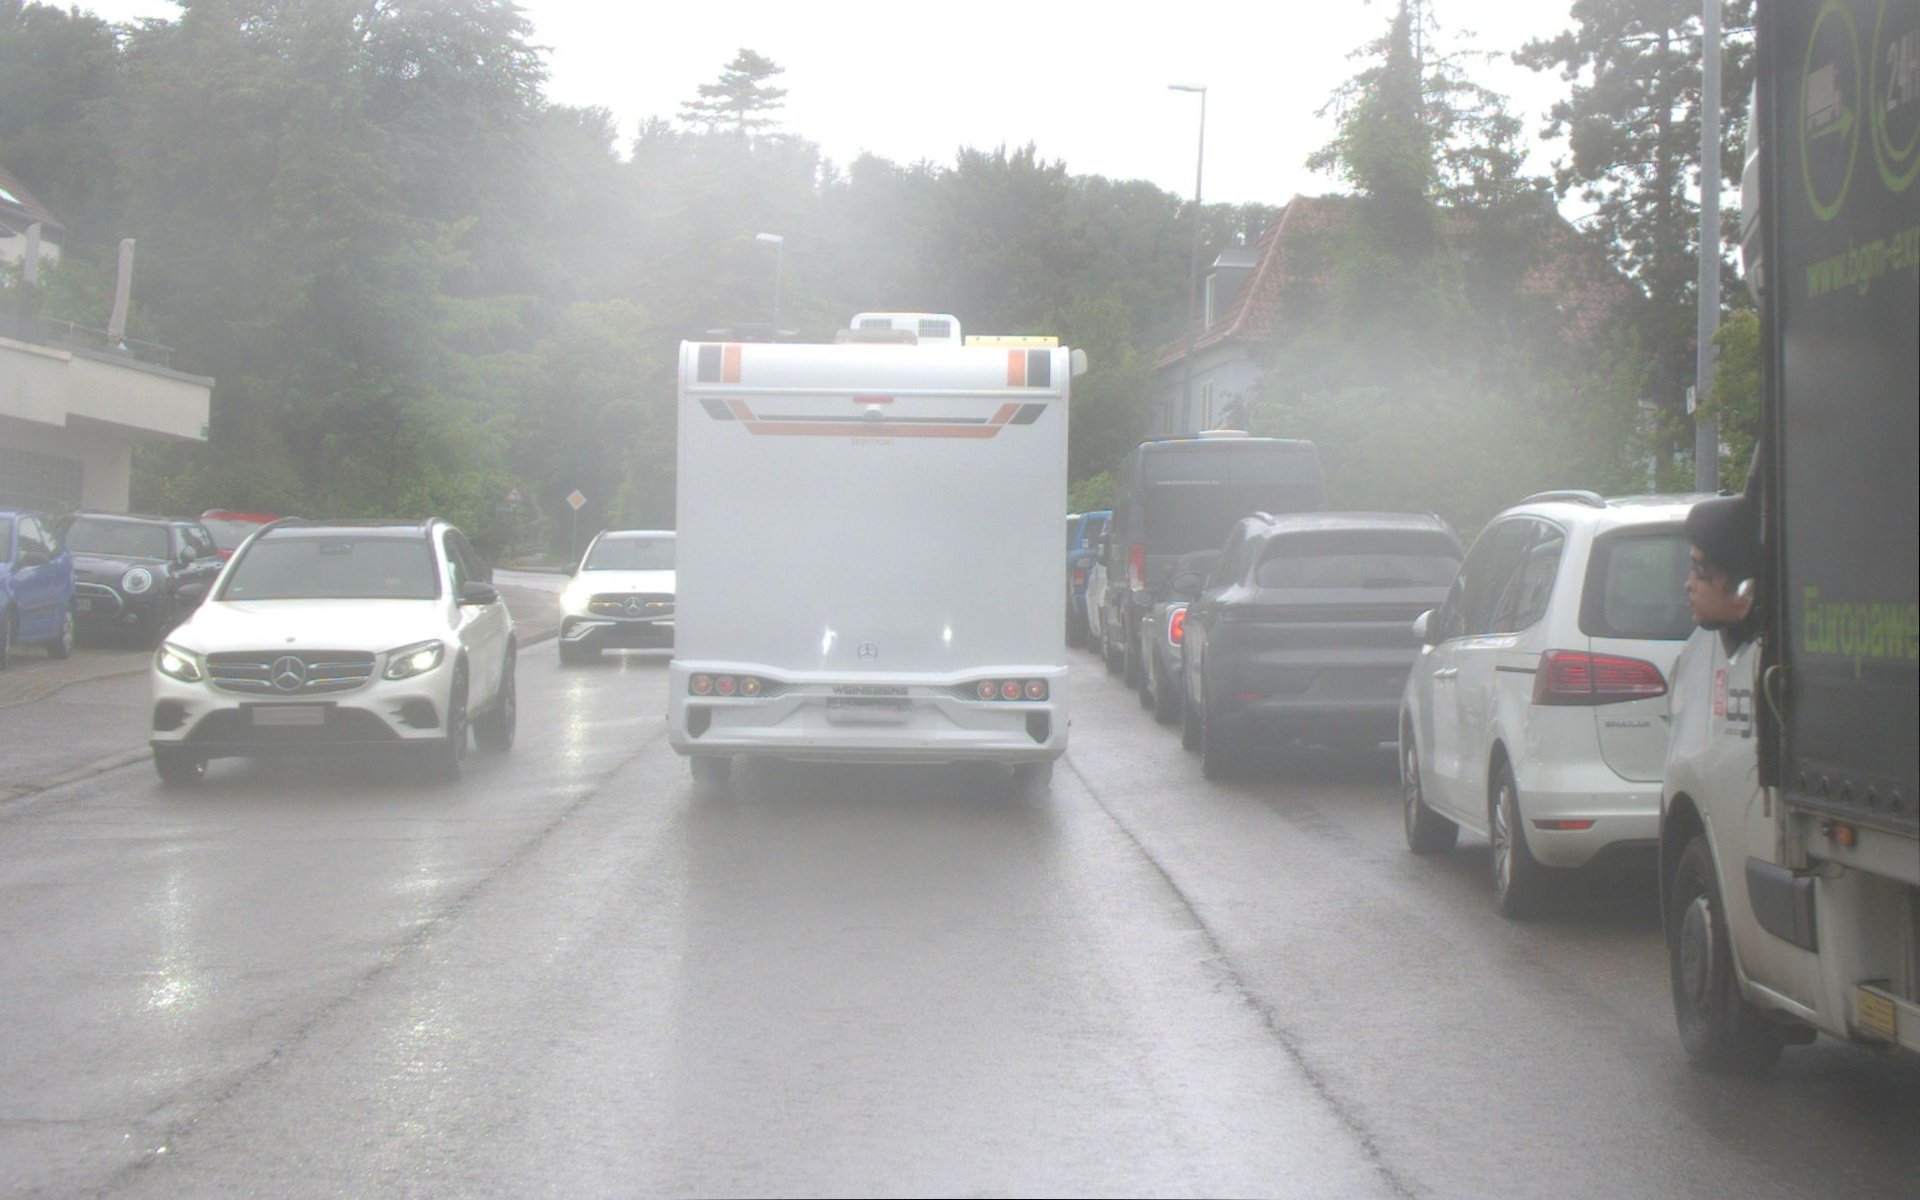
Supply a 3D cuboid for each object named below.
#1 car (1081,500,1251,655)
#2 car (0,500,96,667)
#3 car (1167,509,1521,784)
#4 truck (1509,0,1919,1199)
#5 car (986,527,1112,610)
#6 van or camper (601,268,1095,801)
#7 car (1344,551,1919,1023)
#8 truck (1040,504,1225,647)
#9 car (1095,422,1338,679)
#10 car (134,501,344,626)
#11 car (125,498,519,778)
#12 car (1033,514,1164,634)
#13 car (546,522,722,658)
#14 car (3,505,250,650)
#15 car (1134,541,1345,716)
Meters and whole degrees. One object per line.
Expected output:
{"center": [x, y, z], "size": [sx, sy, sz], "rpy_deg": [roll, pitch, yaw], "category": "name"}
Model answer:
{"center": [2.547, -0.316, 43.647], "size": [1.827, 1.836, 5.270], "rpy_deg": [0, 1, 0], "category": "car"}
{"center": [-9.434, -0.215, 32.352], "size": [1.607, 1.429, 3.959], "rpy_deg": [4, 1, -2], "category": "car"}
{"center": [2.465, 0.240, 23.174], "size": [1.936, 1.666, 4.694], "rpy_deg": [0, 1, 1], "category": "car"}
{"center": [3.050, -0.264, 7.127], "size": [2.436, 3.324, 7.965], "rpy_deg": [0, 1, -1], "category": "truck"}
{"center": [1.630, -0.618, 64.523], "size": [1.685, 1.452, 4.059], "rpy_deg": [2, 1, -8], "category": "car"}
{"center": [-0.627, -0.333, 21.908], "size": [2.616, 2.843, 6.031], "rpy_deg": [2, -1, 0], "category": "van or camper"}
{"center": [2.957, 0.632, 15.051], "size": [1.846, 1.678, 5.639], "rpy_deg": [0, 1, -1], "category": "car"}
{"center": [2.421, -0.397, 50.007], "size": [2.113, 1.845, 6.619], "rpy_deg": [3, 1, -2], "category": "truck"}
{"center": [2.614, -0.533, 36.442], "size": [2.031, 2.497, 5.956], "rpy_deg": [0, 1, -1], "category": "car"}
{"center": [-9.590, -0.505, 46.060], "size": [1.774, 1.432, 4.588], "rpy_deg": [5, 1, -1], "category": "car"}
{"center": [-4.033, 0.176, 22.421], "size": [1.906, 1.602, 4.429], "rpy_deg": [1, 1, -3], "category": "car"}
{"center": [2.308, -0.479, 58.676], "size": [1.860, 1.914, 5.080], "rpy_deg": [2, 1, -1], "category": "car"}
{"center": [-4.020, -0.166, 42.951], "size": [1.798, 1.562, 4.384], "rpy_deg": [1, 1, -1], "category": "car"}
{"center": [-9.138, -0.274, 37.995], "size": [1.633, 1.391, 4.239], "rpy_deg": [5, 1, -1], "category": "car"}
{"center": [2.379, 0.197, 29.947], "size": [1.589, 1.424, 3.797], "rpy_deg": [0, 1, 1], "category": "car"}
